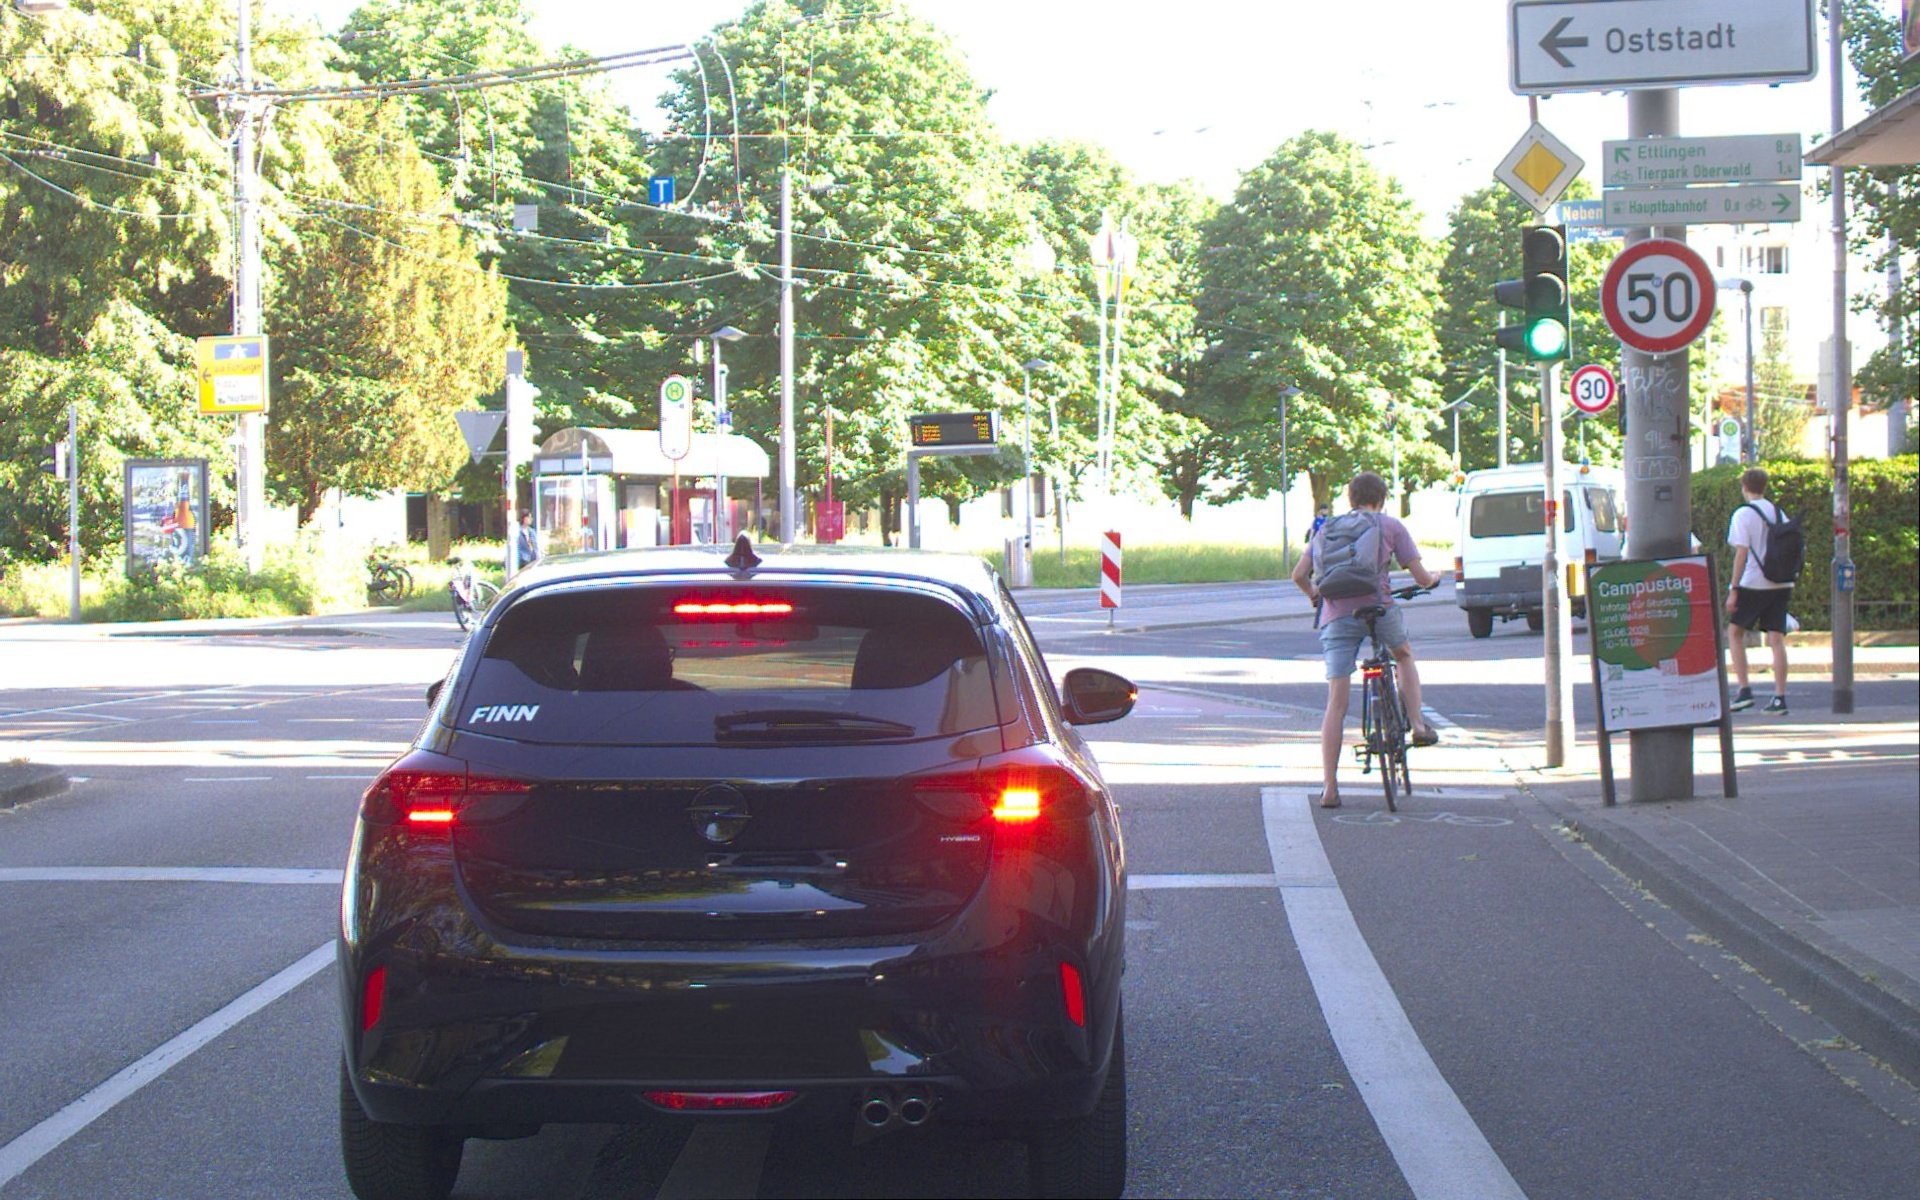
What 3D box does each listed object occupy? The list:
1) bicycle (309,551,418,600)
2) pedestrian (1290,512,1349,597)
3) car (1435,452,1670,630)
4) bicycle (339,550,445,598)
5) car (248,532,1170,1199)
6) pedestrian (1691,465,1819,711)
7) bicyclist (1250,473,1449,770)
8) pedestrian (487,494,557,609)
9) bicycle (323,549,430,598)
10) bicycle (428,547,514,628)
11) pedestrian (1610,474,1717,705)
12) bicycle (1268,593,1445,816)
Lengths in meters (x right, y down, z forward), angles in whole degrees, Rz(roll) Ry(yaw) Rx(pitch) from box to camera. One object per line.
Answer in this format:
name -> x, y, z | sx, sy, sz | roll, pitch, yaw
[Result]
bicycle -> -11.082, -0.456, 63.853 | 1.877, 0.903, 0.659 | 0, 1, 7
pedestrian -> 7.564, -0.959, 72.259 | 0.959, 1.786, 0.994 | 0, 1, 25
car -> 7.990, -0.773, 46.038 | 2.092, 2.270, 4.301 | 1, 1, 24
bicycle -> -10.859, -0.504, 65.708 | 1.877, 0.903, 0.659 | 0, 1, 7
car -> -0.461, 0.565, 8.725 | 1.800, 1.436, 3.940 | -1, 1, 1
pedestrian -> 6.055, -0.099, 26.183 | 0.704, 1.840, 0.699 | 0, 2, 39
bicyclist -> 2.039, 0.092, 18.175 | 0.840, 1.504, 1.369 | 0, 1, -2
pedestrian -> -6.483, -0.727, 50.891 | 0.727, 1.687, 0.699 | 0, 2, 35
bicycle -> -10.998, -0.506, 64.837 | 1.877, 0.903, 0.659 | 0, 1, 7
bicycle -> -6.619, -0.176, 46.648 | 0.825, 1.056, 1.883 | 0, 1, 2
pedestrian -> 5.511, -0.087, 26.946 | 0.698, 1.786, 0.617 | -1, 1, -1
bicycle -> 2.069, 0.517, 18.154 | 0.667, 1.056, 2.082 | 0, 1, -1
